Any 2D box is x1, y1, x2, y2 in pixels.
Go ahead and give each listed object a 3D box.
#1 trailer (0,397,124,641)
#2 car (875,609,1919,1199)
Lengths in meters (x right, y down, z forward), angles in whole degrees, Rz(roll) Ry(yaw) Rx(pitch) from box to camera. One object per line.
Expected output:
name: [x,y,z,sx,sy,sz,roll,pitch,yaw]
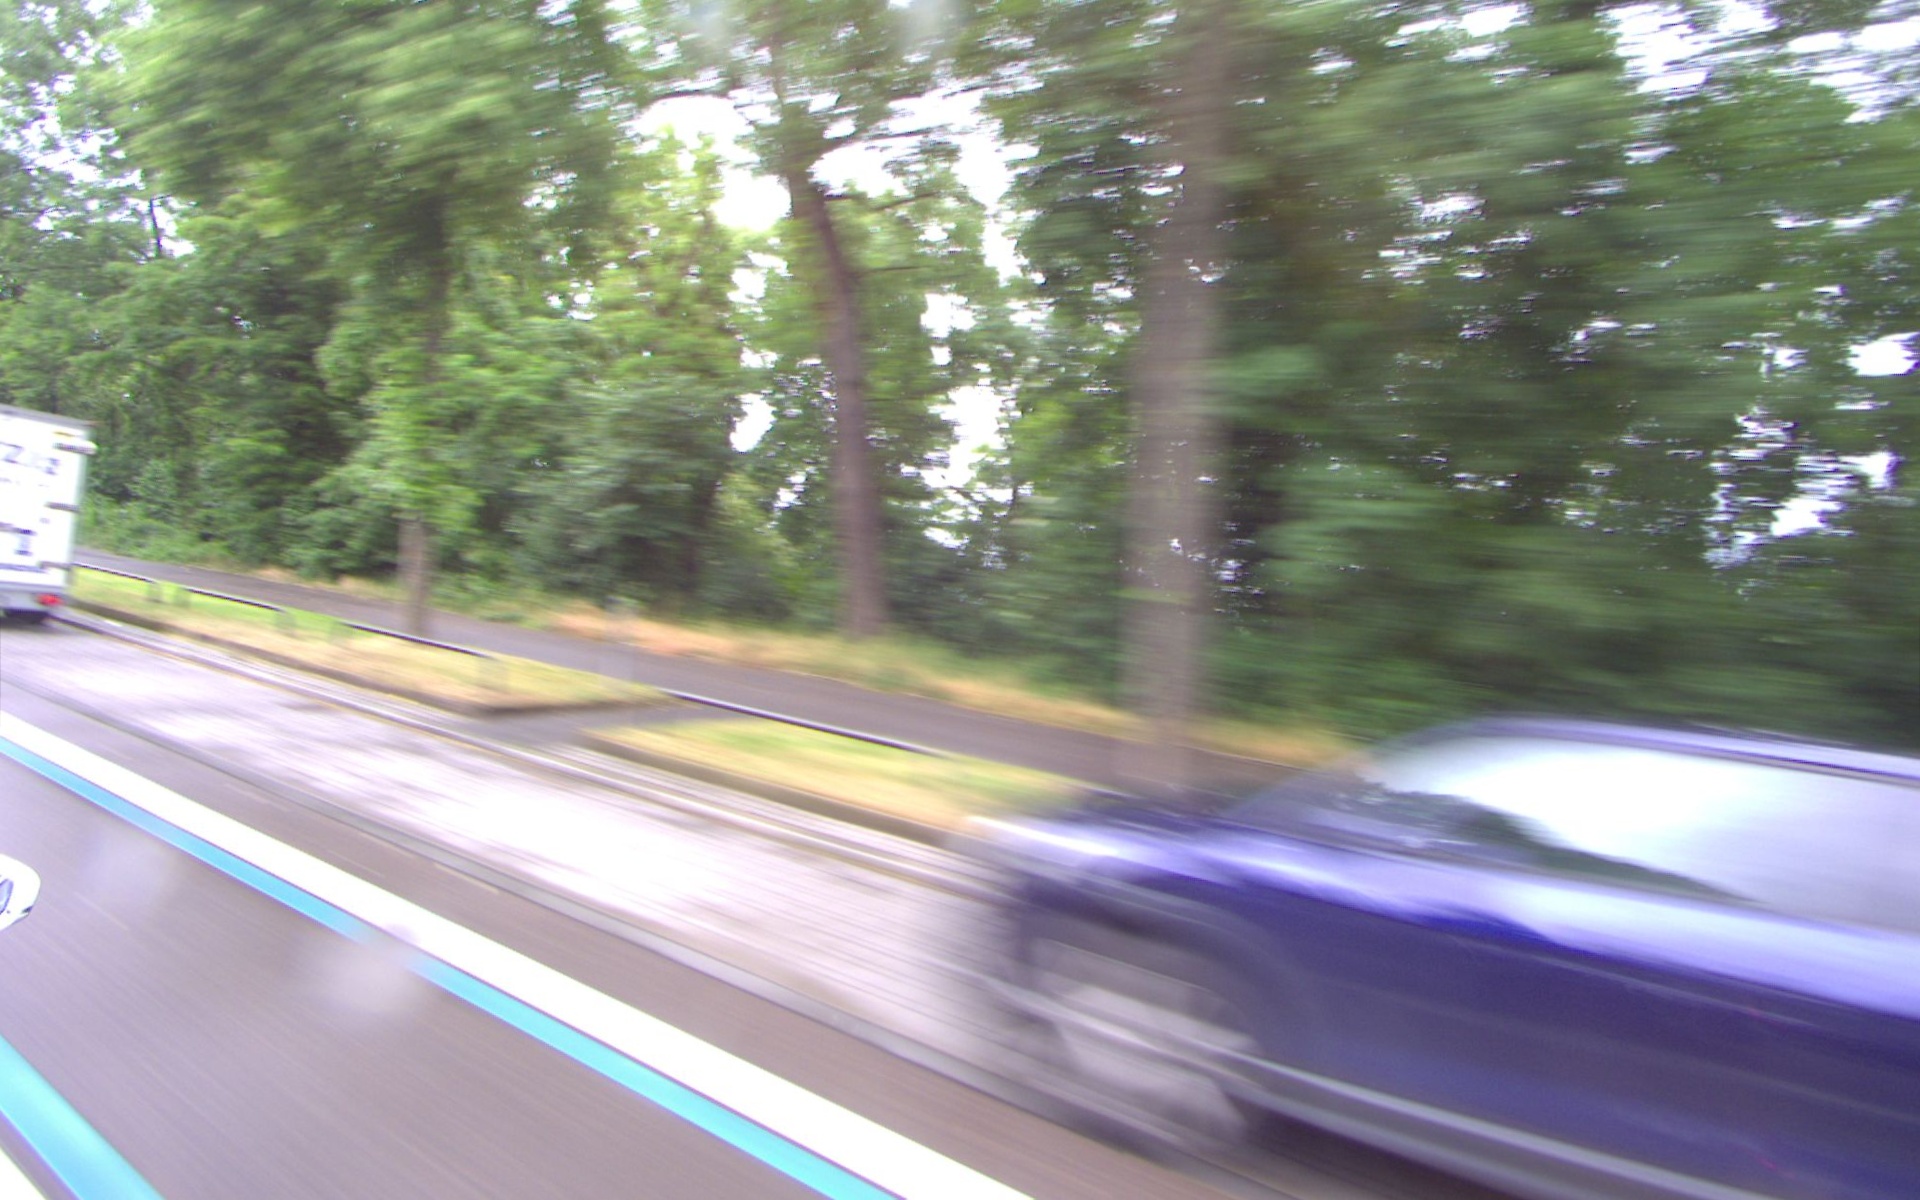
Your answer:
trailer: [-12.260,-1.102,11.866,4.224,2.591,2.136,7,0,29]
car: [1.891,1.060,3.241,3.909,1.531,1.716,7,-1,30]
